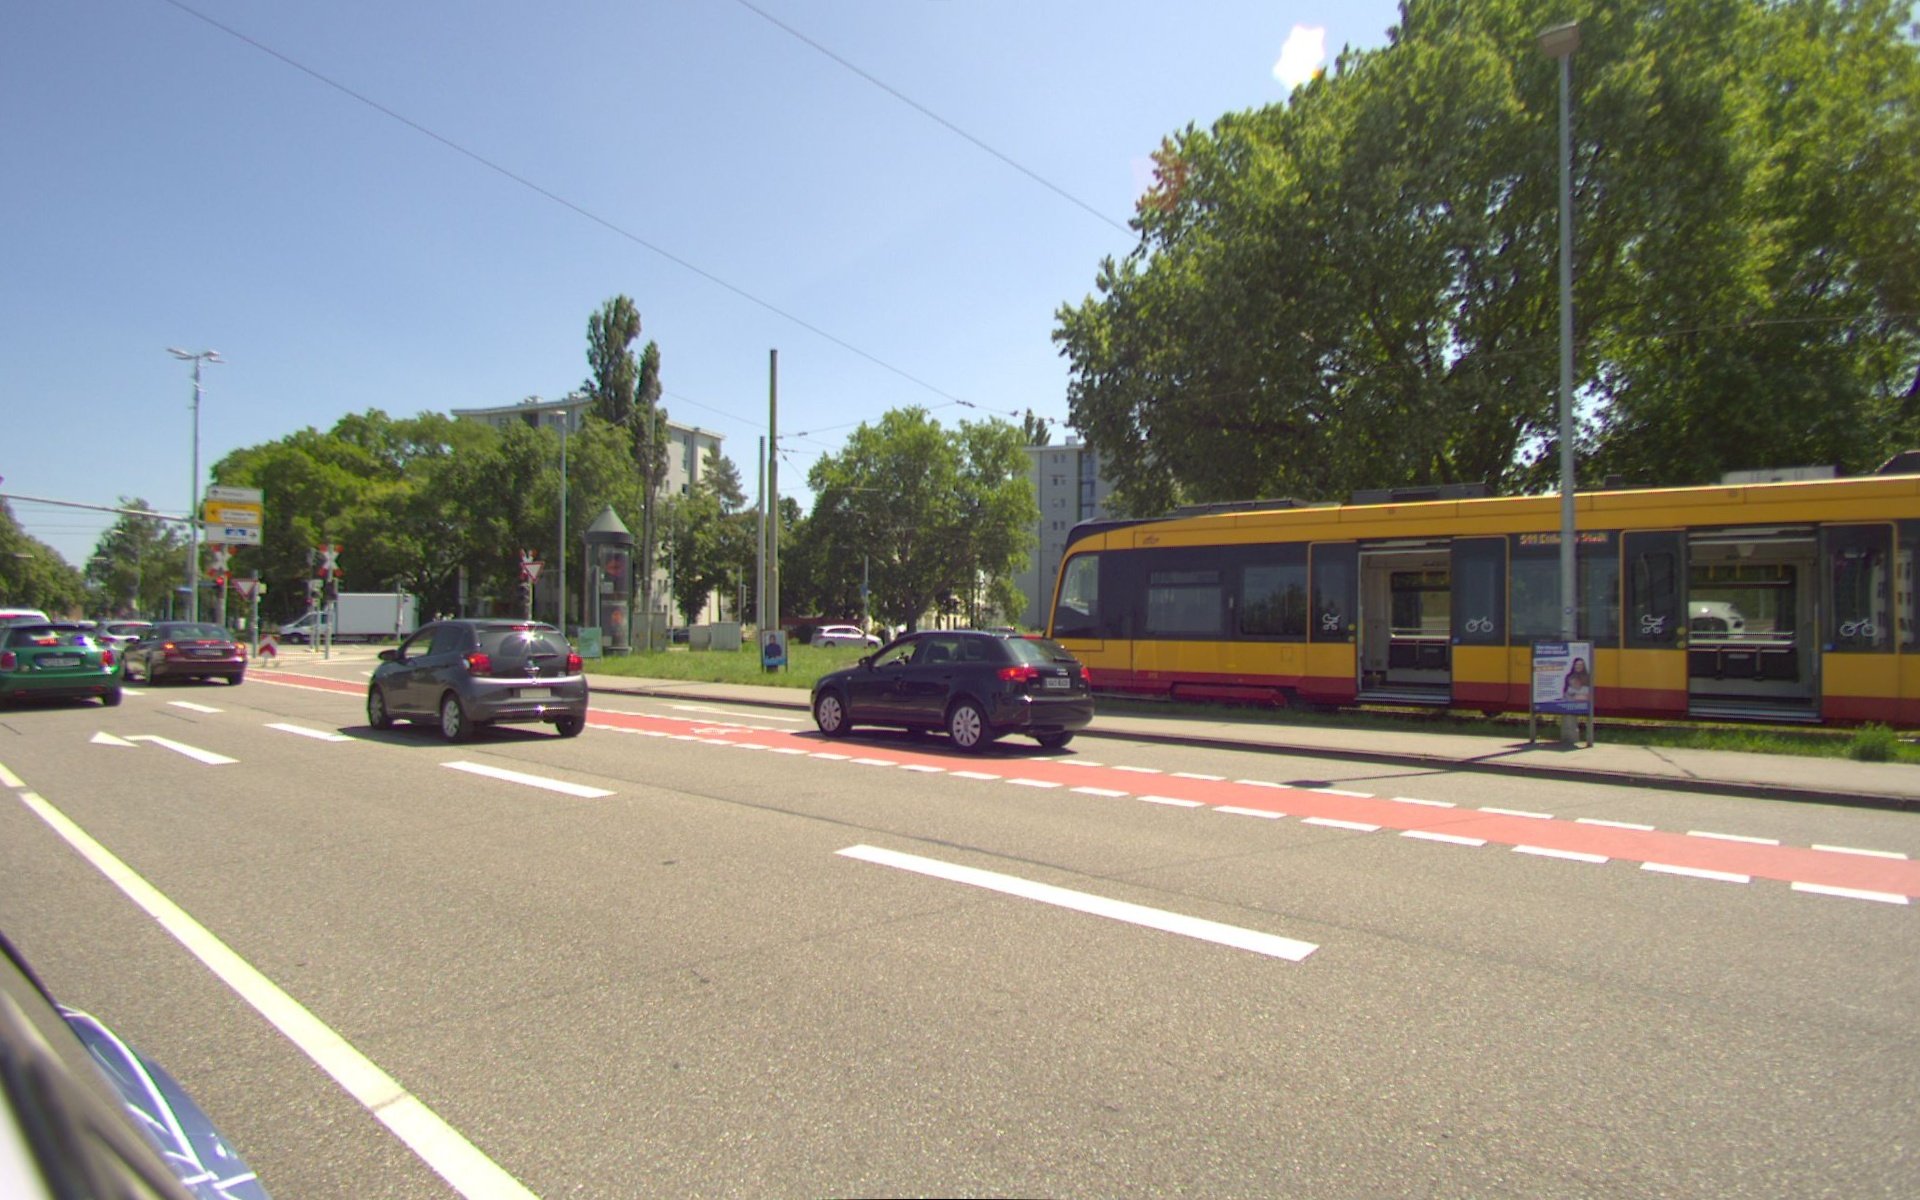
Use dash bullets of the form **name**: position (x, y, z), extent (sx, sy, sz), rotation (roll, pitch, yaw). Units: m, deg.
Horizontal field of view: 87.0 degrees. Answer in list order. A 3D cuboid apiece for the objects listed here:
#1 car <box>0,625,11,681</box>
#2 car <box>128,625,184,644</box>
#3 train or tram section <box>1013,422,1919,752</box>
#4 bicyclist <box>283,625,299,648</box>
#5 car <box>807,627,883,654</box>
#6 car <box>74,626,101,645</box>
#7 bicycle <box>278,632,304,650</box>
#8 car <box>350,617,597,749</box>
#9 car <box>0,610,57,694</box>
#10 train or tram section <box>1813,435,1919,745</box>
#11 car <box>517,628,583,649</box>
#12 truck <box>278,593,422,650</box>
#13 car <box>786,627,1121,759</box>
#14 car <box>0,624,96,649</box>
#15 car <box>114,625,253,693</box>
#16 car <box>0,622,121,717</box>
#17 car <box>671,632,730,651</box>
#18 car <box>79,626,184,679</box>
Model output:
- **car**: position (-26.746, 1.413, 26.946), extent (3.958, 1.448, 1.750), rotation (-1, -1, 40)
- **car**: position (-64.750, 2.807, 81.521), extent (3.440, 1.439, 1.586), rotation (1, -4, -44)
- **train or tram section**: position (7.111, 0.032, 16.261), extent (12.964, 3.788, 2.989), rotation (-1, -4, 36)
- **bicyclist**: position (-44.724, 2.419, 67.678), extent (0.626, 1.479, 0.610), rotation (2, 0, 27)
- **car**: position (-6.853, 2.440, 60.304), extent (4.184, 1.558, 1.752), rotation (1, -4, -20)
- **car**: position (-82.355, 3.350, 95.582), extent (1.782, 1.731, 4.350), rotation (2, -4, -40)
- **bicycle**: position (-44.740, 2.732, 67.684), extent (1.797, 1.071, 0.610), rotation (2, 0, 27)
- **car**: position (-6.332, 0.990, 13.040), extent (3.500, 1.467, 1.605), rotation (-1, -3, 42)
- **car**: position (-21.673, 1.131, 22.522), extent (4.829, 1.736, 1.792), rotation (-2, -2, 42)
- **train or tram section**: position (17.441, -0.080, 11.699), extent (11.487, 3.788, 3.017), rotation (0, -3, 10)
- **car**: position (-26.612, 2.488, 65.786), extent (3.931, 1.296, 1.752), rotation (1, -4, -20)
- **truck**: position (-39.798, 1.454, 66.343), extent (7.579, 3.560, 2.596), rotation (1, -4, -18)
- **car**: position (-0.238, 1.104, 13.050), extent (1.723, 1.416, 4.443), rotation (4, -4, -44)
- **car**: position (-54.991, 2.206, 60.880), extent (4.142, 1.436, 1.854), rotation (1, -3, -17)
- **car**: position (-18.383, 1.332, 23.898), extent (4.283, 1.468, 1.742), rotation (-1, -2, 41)
- **car**: position (-16.040, 1.142, 17.583), extent (3.989, 1.474, 1.704), rotation (-2, -2, 42)
- **car**: position (-18.688, 2.973, 72.792), extent (3.931, 1.296, 1.892), rotation (1, -4, -20)
- **car**: position (-24.780, 1.525, 30.223), extent (4.412, 1.467, 1.772), rotation (-1, -3, 42)
